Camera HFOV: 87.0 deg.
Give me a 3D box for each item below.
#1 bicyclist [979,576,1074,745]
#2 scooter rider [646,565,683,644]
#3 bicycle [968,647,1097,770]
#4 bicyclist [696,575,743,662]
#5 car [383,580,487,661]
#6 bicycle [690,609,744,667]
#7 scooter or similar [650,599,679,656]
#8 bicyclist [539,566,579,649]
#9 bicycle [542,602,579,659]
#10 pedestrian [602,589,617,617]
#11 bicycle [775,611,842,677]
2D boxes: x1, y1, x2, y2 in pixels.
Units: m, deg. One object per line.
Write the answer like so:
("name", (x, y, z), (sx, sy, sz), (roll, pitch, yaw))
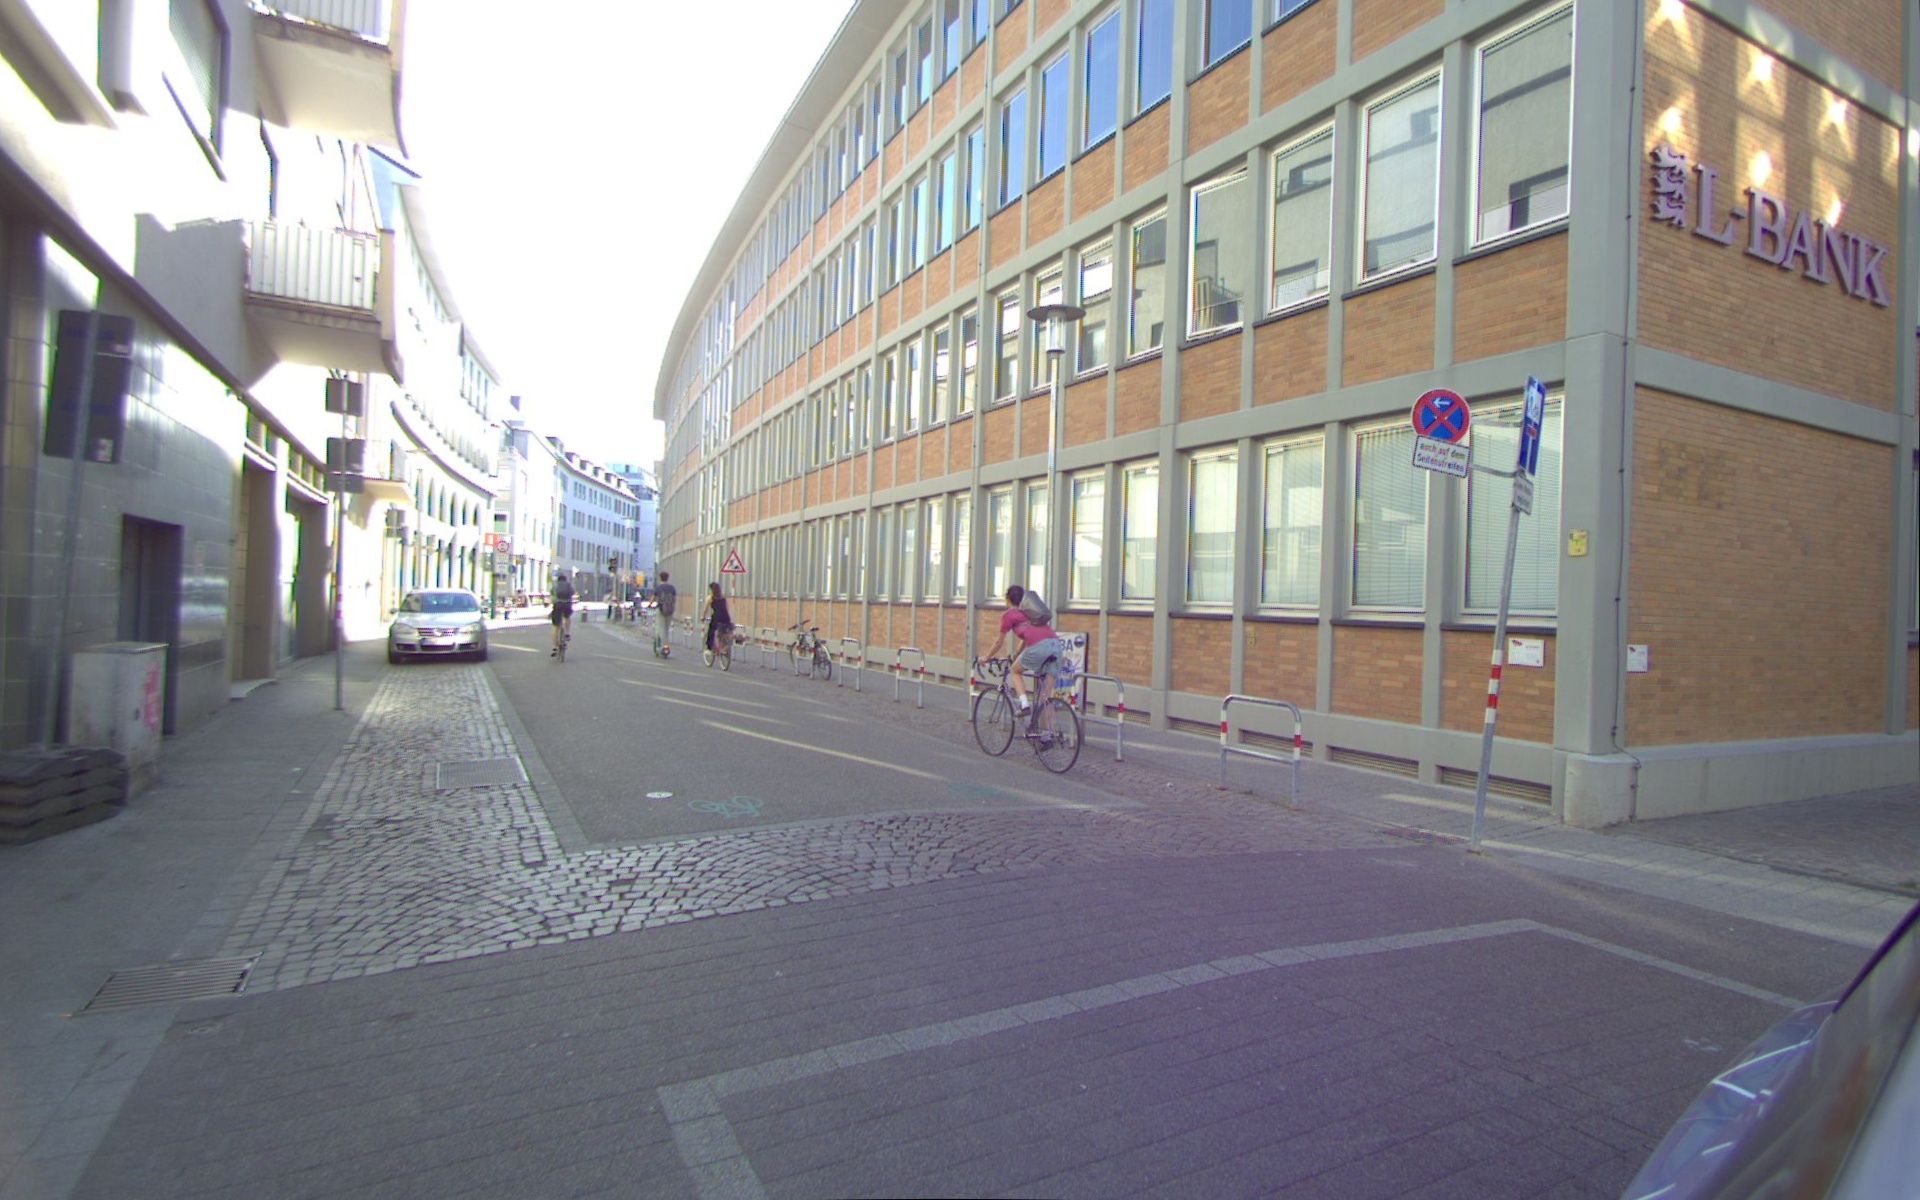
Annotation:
("bicyclist", (0.615, 0.544, 9.588), (0.419, 1.517, 0.877), (4, -1, -27))
("scooter rider", (-6.668, 0.094, 22.814), (0.635, 1.748, 0.703), (2, 1, -25))
("bicycle", (0.646, 0.972, 9.537), (0.427, 0.969, 1.593), (2, 0, -27))
("bicyclist", (-4.832, 0.360, 20.319), (0.607, 1.688, 0.825), (5, -2, -27))
("car", (-10.666, 0.340, 20.668), (1.735, 1.488, 3.819), (0, 1, -26))
("bicycle", (-4.901, 0.747, 20.321), (0.579, 1.065, 1.803), (4, -1, -28))
("scooter or similar", (-6.657, 0.606, 22.775), (0.330, 1.201, 1.281), (4, -1, -26))
("bicyclist", (-7.931, 0.145, 20.067), (0.636, 1.578, 1.112), (2, 0, -18))
("bicycle", (-7.939, 0.585, 20.152), (0.562, 1.064, 1.840), (2, 0, -18))
("pedestrian", (-18.619, 0.136, 53.722), (0.646, 1.459, 0.597), (2, 0, -25))
("bicycle", (-2.881, 0.803, 19.107), (0.625, 1.130, 1.933), (2, 0, -28))
